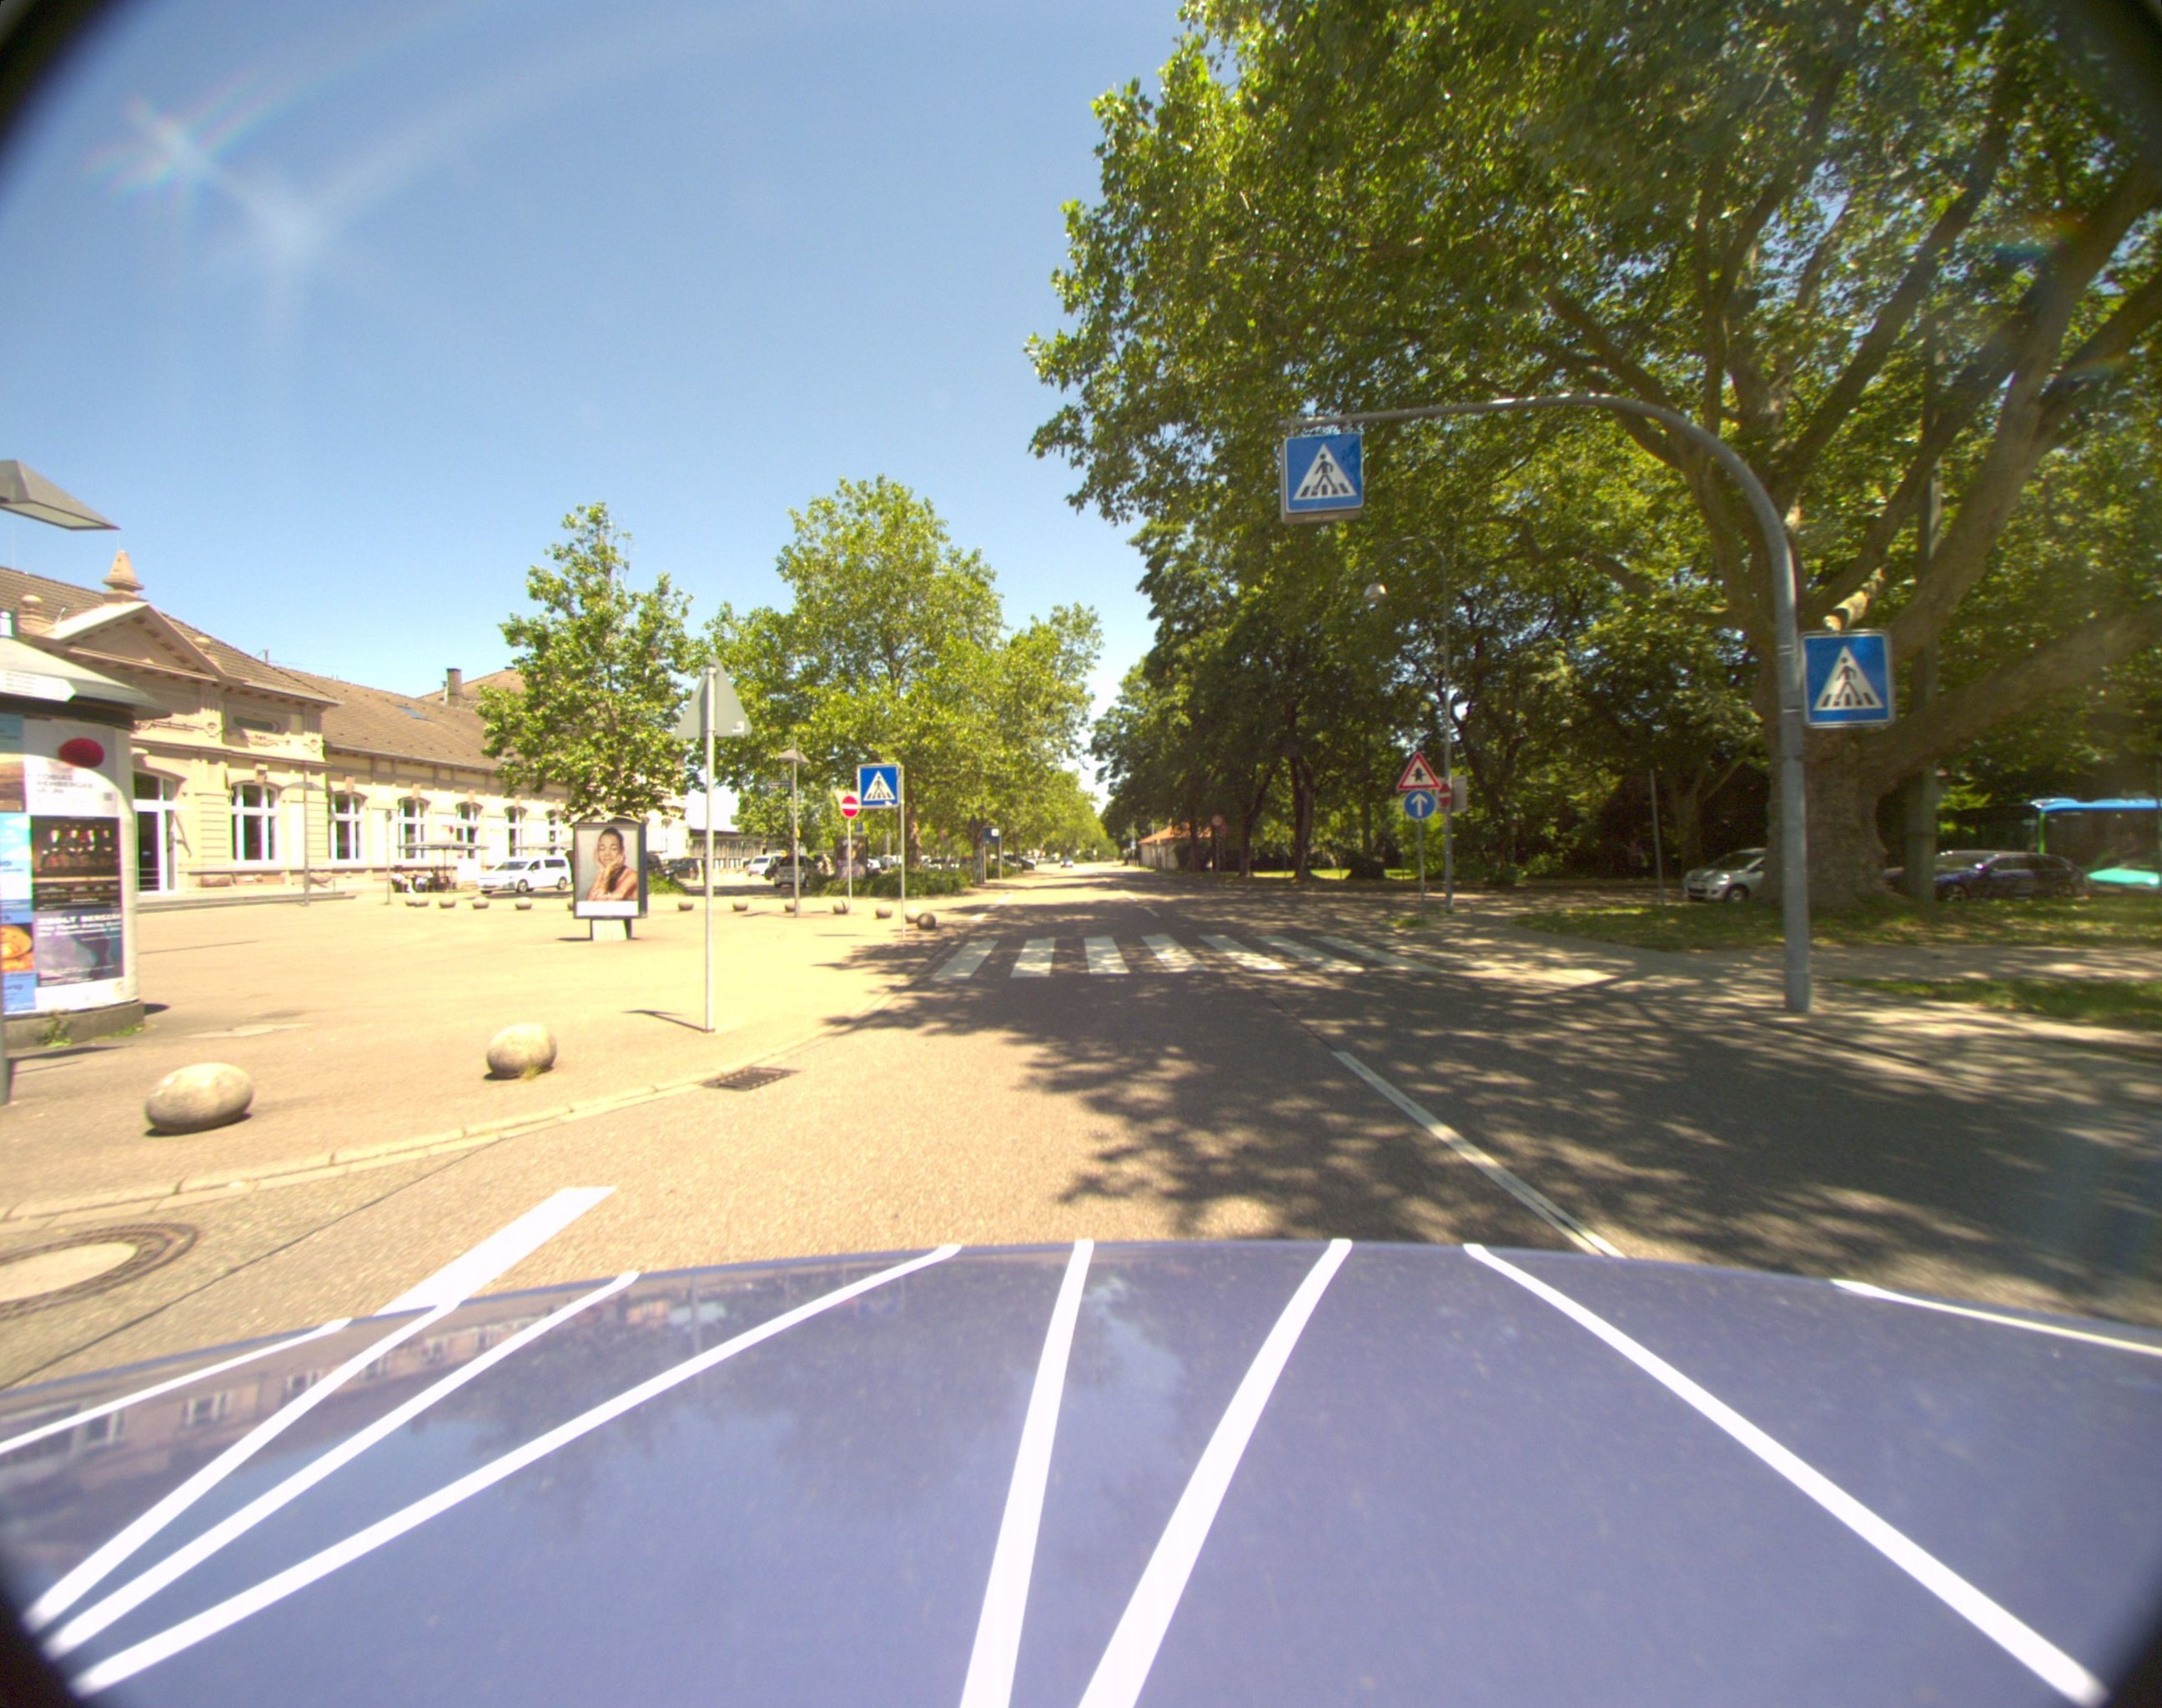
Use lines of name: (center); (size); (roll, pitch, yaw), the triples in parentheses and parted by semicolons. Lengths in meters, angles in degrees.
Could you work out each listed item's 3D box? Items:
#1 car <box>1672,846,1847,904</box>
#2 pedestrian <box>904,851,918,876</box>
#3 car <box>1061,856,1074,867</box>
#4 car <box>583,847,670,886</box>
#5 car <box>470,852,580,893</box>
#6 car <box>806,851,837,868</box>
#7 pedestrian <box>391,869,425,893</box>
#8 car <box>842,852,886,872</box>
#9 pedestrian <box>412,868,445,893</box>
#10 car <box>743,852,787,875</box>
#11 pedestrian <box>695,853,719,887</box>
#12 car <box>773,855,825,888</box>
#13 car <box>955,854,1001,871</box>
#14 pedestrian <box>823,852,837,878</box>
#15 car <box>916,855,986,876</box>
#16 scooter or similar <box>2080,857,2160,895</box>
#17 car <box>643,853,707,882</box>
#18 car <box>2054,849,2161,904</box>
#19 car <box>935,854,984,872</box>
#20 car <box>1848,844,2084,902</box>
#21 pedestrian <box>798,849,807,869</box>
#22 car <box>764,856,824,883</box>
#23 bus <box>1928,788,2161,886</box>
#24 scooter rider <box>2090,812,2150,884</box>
car: (18.983, 0.570, 21.363); (3.483, 1.489, 1.599); (-1, 2, 0)
pedestrian: (-12.245, 0.684, 54.713); (0.839, 1.760, 0.850); (-1, 1, -19)
car: (-1.818, 0.972, 102.489); (1.661, 1.368, 3.450); (-4, 0, -3)
car: (-27.015, 0.745, 45.462); (2.093, 2.111, 5.823); (-2, 0, -6)
car: (-27.394, 0.879, 37.682); (1.814, 1.854, 5.138); (-2, 0, -3)
car: (-29.745, 0.601, 87.251); (1.998, 1.779, 4.246); (-3, 1, 1)
pedestrian: (-32.240, 1.292, 36.403); (0.881, 1.073, 0.851); (1, 0, -5)
car: (-18.713, 0.664, 65.383); (4.051, 1.596, 1.804); (1, 3, 44)
pedestrian: (-31.301, 1.256, 36.467); (0.881, 1.155, 0.851); (1, 0, -5)
car: (-27.508, 0.769, 66.414); (2.004, 1.829, 5.315); (-3, 1, -6)
pedestrian: (-18.860, 0.800, 38.312); (0.812, 1.707, 0.775); (0, 1, 43)
car: (-14.071, 0.844, 38.123); (1.601, 1.584, 3.105); (-1, 0, -4)
car: (-9.457, 0.734, 69.757); (3.882, 1.452, 1.633); (-1, 1, -29)
pedestrian: (-14.956, 0.654, 45.293); (0.591, 1.539, 0.609); (0, 1, -38)
car: (-9.504, 0.820, 55.580); (4.782, 1.409, 1.783); (-1, 1, -20)
scooter or similar: (33.763, 0.707, 24.705); (1.517, 1.176, 0.741); (-1, 0, 2)
car: (-27.622, 0.908, 51.849); (2.080, 1.829, 4.838); (-2, 0, -6)
car: (30.538, 0.574, 21.113); (4.766, 1.431, 1.756); (-1, 1, 0)
car: (-10.537, 0.764, 65.974); (3.882, 1.452, 1.633); (-1, 1, -29)
car: (24.372, 0.501, 21.047); (4.500, 1.431, 1.755); (-1, 2, 0)
pedestrian: (-27.765, 0.497, 75.744); (0.628, 1.978, 0.617); (-3, 1, -6)
car: (-18.508, 0.945, 48.910); (4.516, 1.534, 1.804); (1, 3, 43)
bus: (40.165, -0.656, 27.507); (15.939, 3.276, 2.877); (-1, 1, 0)
scooter rider: (33.759, -0.186, 24.690); (0.926, 2.304, 0.741); (-1, 1, 2)
